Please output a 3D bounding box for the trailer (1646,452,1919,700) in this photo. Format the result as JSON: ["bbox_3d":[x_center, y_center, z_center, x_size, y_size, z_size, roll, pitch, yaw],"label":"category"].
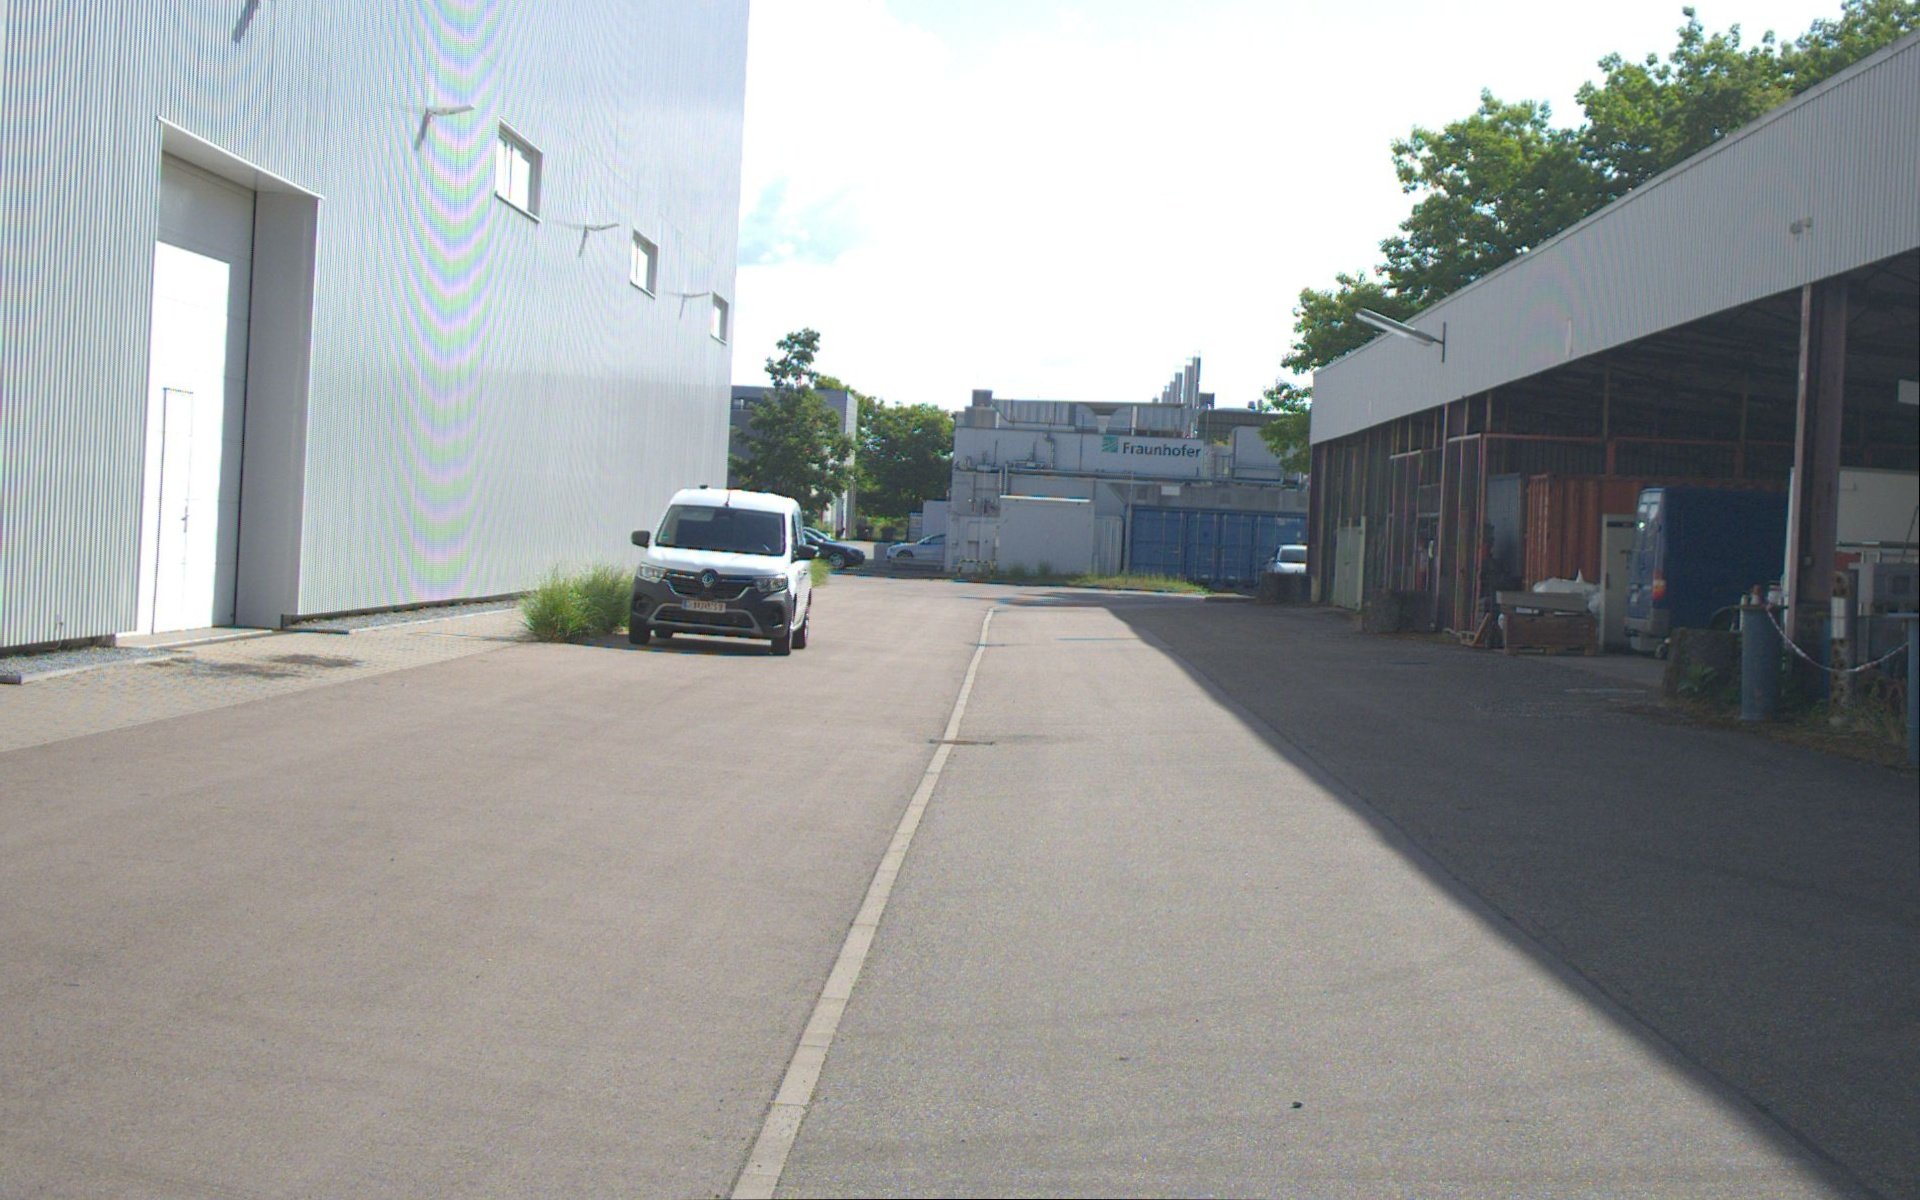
[{"bbox_3d":[8.568,-0.245,35.557,2.524,2.390,1.727,3,0,2],"label":"trailer"}]

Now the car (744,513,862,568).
[{"bbox_3d":[-5.542,-2.097,121.613,3.987,1.592,1.741,4,-1,0],"label":"car"}]

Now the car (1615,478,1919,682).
[{"bbox_3d":[10.889,-0.212,44.288,4.433,2.301,1.915,4,-1,2],"label":"car"}]

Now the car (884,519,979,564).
[{"bbox_3d":[-1.234,-2.539,149.389,3.987,1.592,1.848,4,-1,0],"label":"car"}]

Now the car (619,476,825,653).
[{"bbox_3d":[-2.657,-0.438,39.307,1.819,1.781,4.405,4,2,1],"label":"car"}]

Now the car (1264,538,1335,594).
[{"bbox_3d":[10.724,-1.103,108.784,1.962,1.559,4.059,4,2,3],"label":"car"}]
